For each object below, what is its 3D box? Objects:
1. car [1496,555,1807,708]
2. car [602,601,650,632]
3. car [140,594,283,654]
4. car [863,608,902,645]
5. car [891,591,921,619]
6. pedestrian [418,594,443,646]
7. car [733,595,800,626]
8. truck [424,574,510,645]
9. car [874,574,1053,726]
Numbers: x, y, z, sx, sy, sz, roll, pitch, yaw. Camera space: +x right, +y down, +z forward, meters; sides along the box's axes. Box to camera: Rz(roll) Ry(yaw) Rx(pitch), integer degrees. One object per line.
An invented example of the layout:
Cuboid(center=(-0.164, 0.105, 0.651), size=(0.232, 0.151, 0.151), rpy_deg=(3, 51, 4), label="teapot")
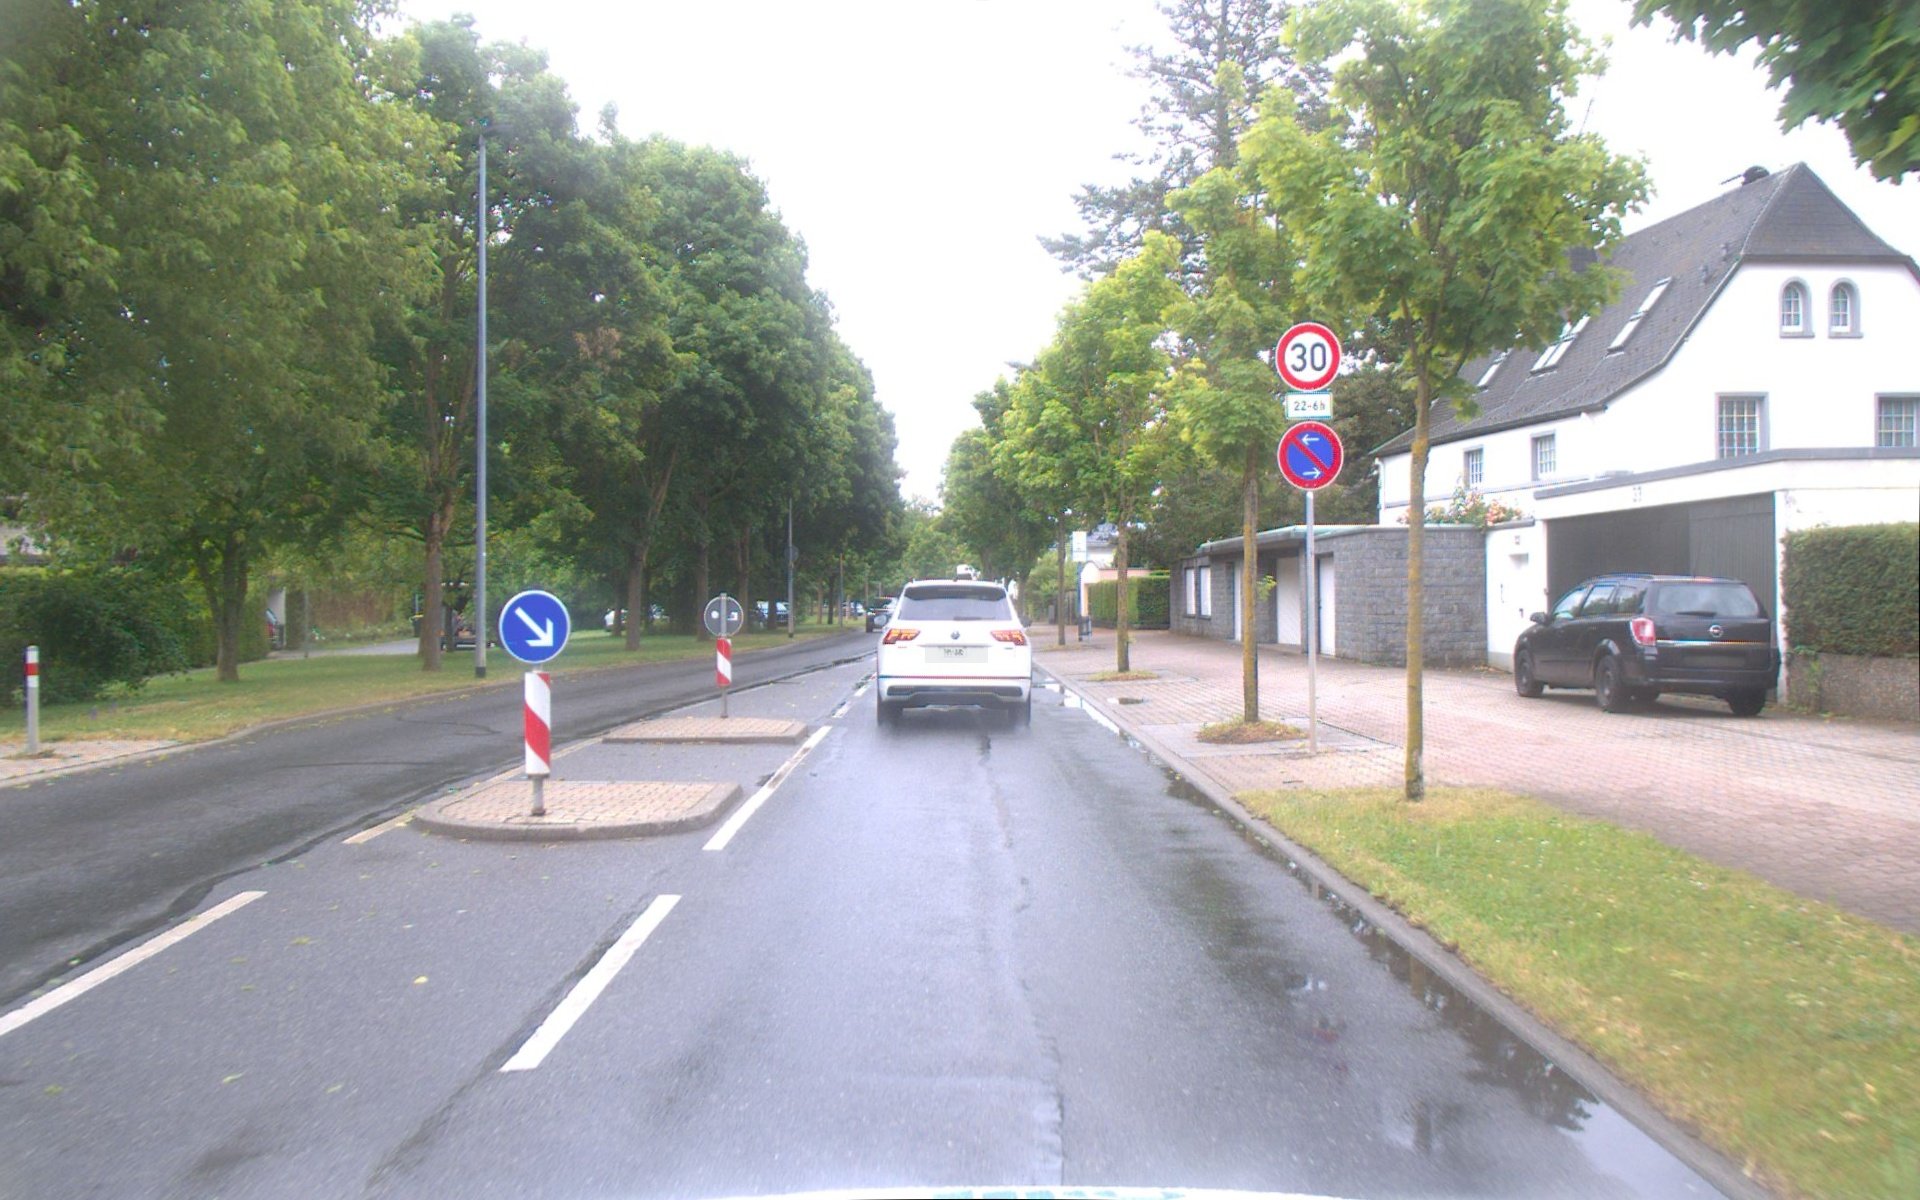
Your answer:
Cuboid(center=(7.840, 0.308, 19.255), size=(1.735, 1.524, 4.544), rpy_deg=(-1, 0, 1), label="car")
Cuboid(center=(-16.809, 0.827, 83.150), size=(1.814, 1.508, 3.976), rpy_deg=(-1, 0, -20), label="car")
Cuboid(center=(-24.653, 0.776, 54.609), size=(3.915, 1.847, 1.875), rpy_deg=(-1, 0, -11), label="car")
Cuboid(center=(-3.680, 1.237, 79.000), size=(1.778, 1.677, 3.999), rpy_deg=(0, 0, -1), label="car")
Cuboid(center=(-3.286, 0.301, 101.347), size=(1.720, 1.677, 4.000), rpy_deg=(0, 0, 0), label="car")
Cuboid(center=(-19.583, 0.726, 61.175), size=(0.695, 1.873, 0.823), rpy_deg=(-1, 0, -6), label="pedestrian")
Cuboid(center=(-10.082, 0.549, 86.101), size=(1.826, 1.508, 3.951), rpy_deg=(-1, 0, -35), label="car")
Cuboid(center=(-19.241, 0.358, 64.818), size=(2.241, 2.642, 5.865), rpy_deg=(-1, 0, -7), label="truck")
Cuboid(center=(-0.048, 0.534, 20.118), size=(1.957, 1.660, 3.998), rpy_deg=(0, 0, -3), label="car")
